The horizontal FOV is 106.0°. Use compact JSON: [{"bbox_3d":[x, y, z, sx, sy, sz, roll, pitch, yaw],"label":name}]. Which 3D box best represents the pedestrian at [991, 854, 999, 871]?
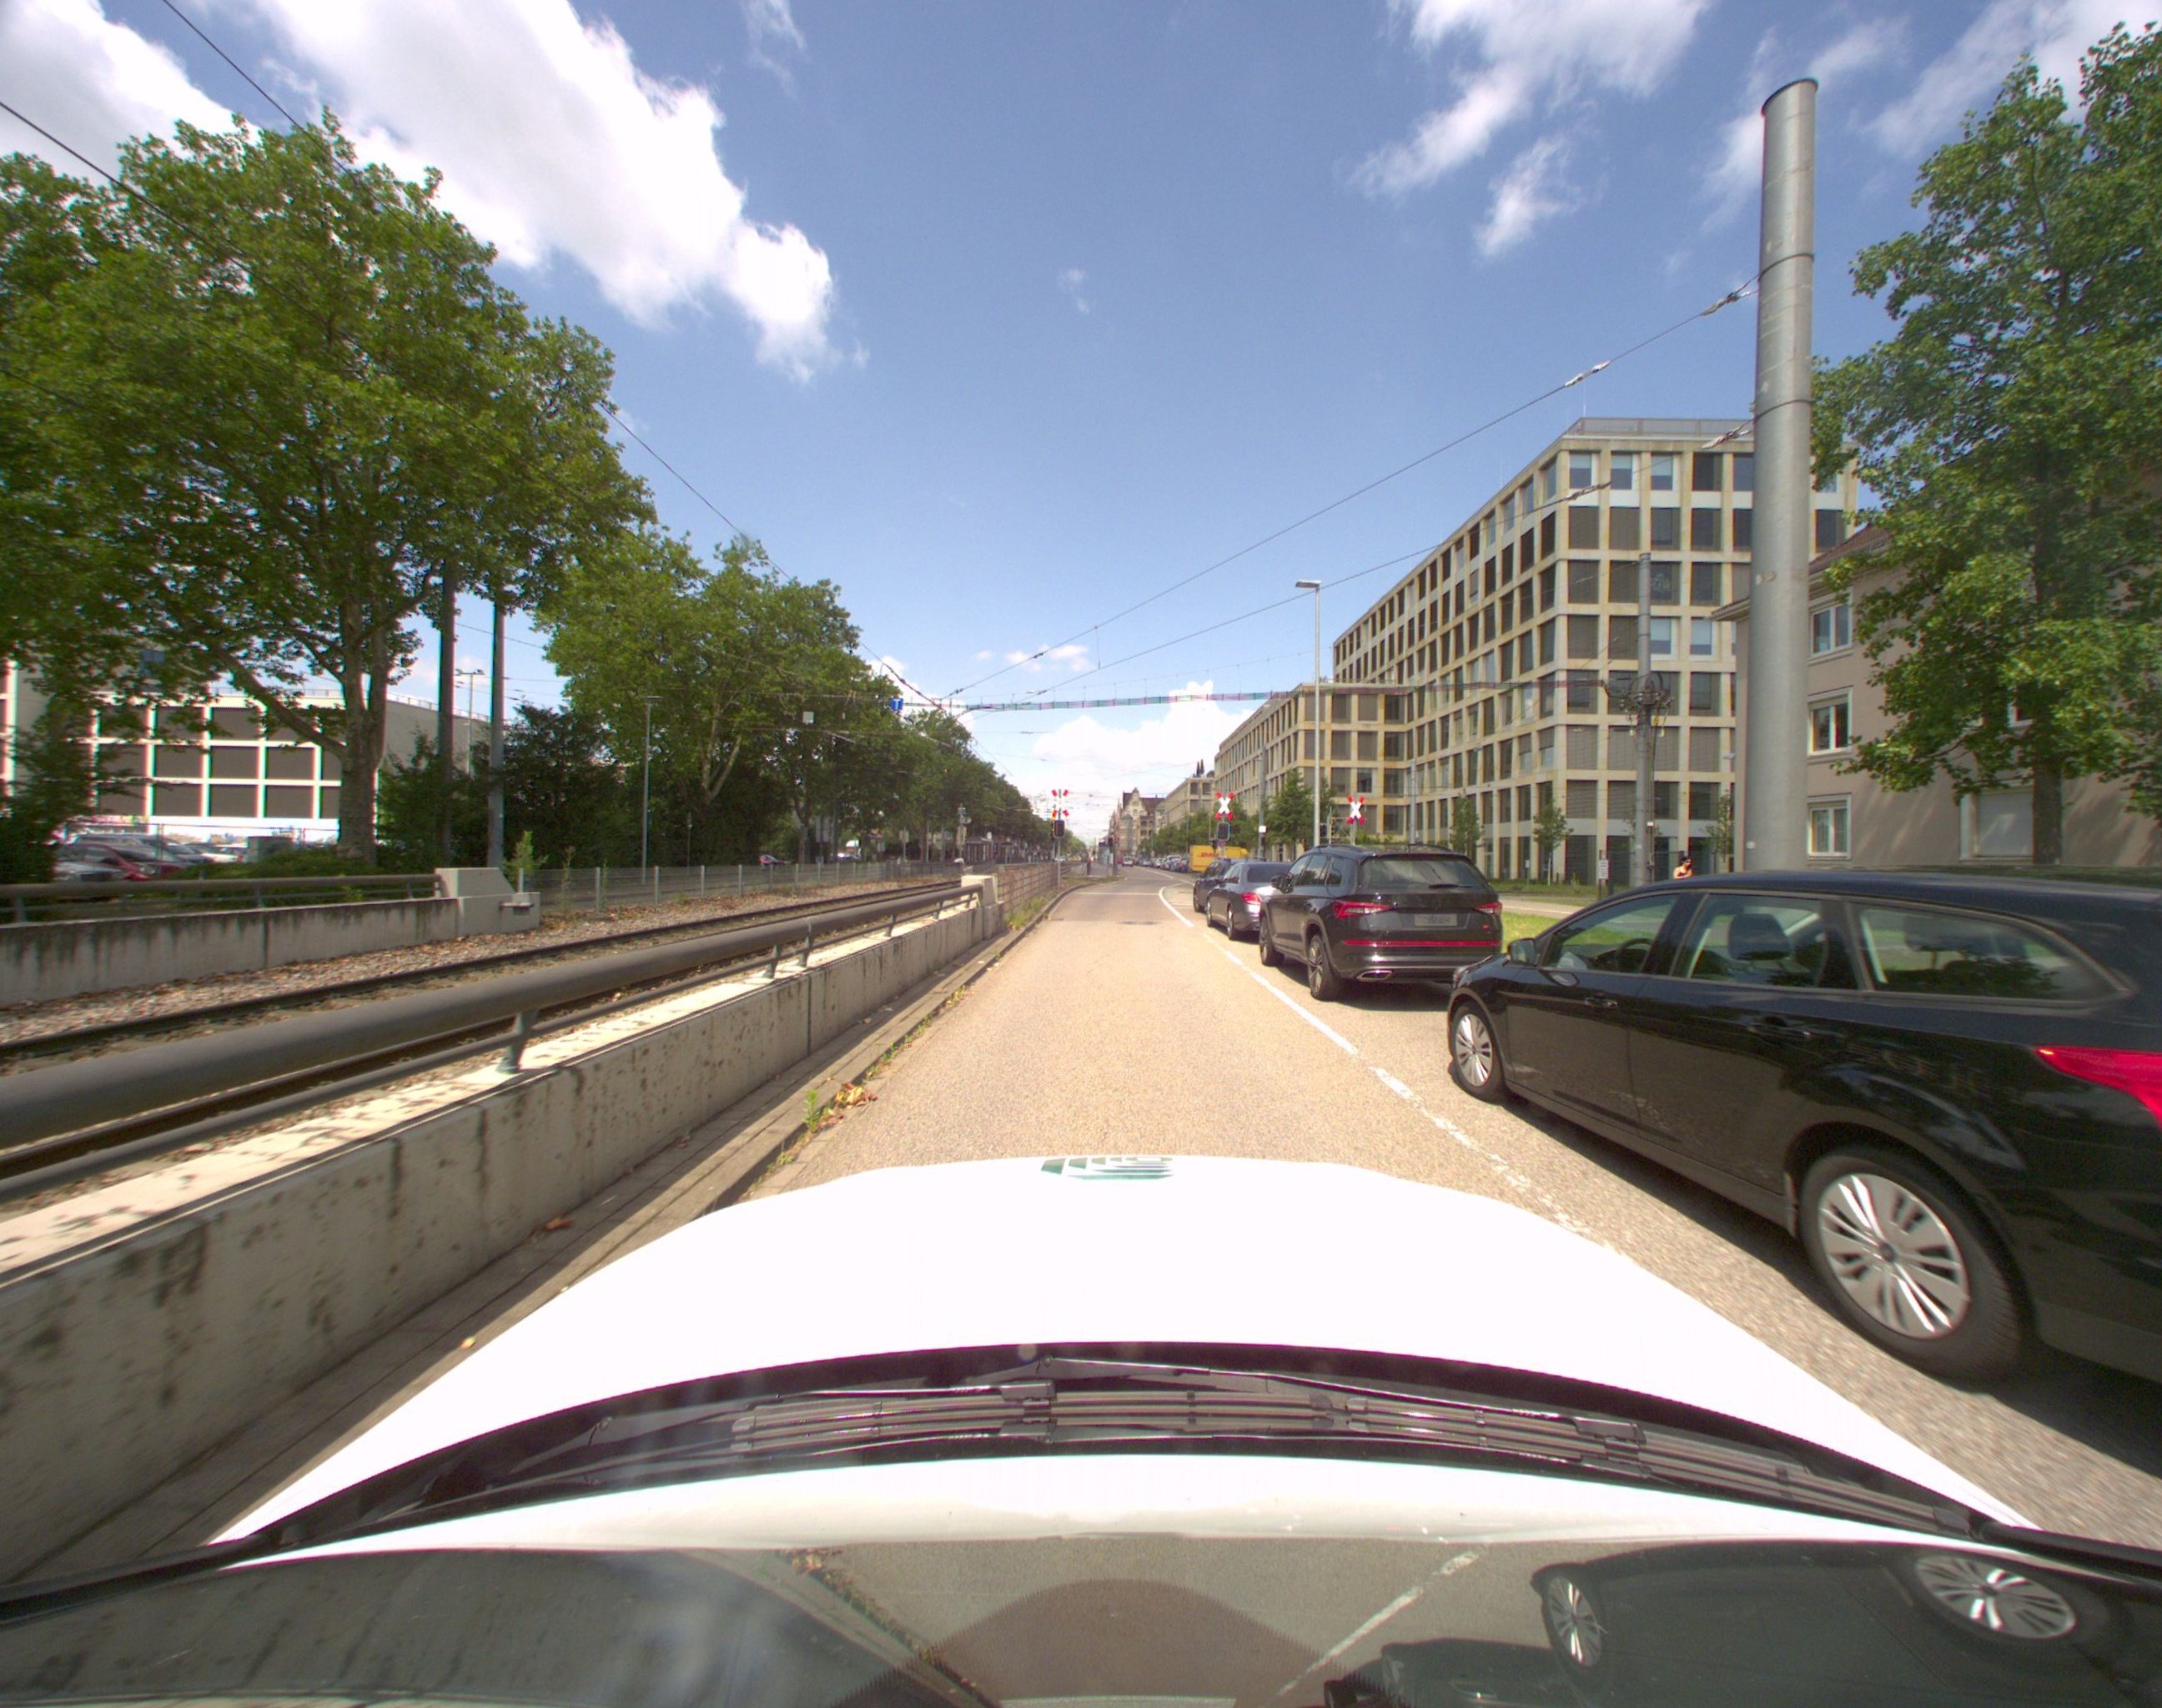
[{"bbox_3d":[-9.135,0.903,86.254,0.704,1.845,0.864,0,-1,0],"label":"pedestrian"}]

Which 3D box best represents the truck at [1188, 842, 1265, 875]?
[{"bbox_3d":[13.613,0.465,76.569,6.787,2.867,2.453,1,-1,-2],"label":"truck"}]

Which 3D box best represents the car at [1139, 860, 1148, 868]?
[{"bbox_3d":[13.249,2.086,172.712,1.586,1.434,4.105,3,-1,-1],"label":"car"}]

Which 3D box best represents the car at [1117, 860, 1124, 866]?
[{"bbox_3d":[9.284,2.096,191.808,1.439,1.470,4.090,-1,-1,-1],"label":"car"}]

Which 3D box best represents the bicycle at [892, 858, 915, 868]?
[{"bbox_3d":[-25.501,1.276,116.990,3.024,1.167,0.635,4,-1,5],"label":"bicycle"}]

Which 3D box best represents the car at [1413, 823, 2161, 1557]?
[{"bbox_3d":[3.168,0.729,3.757,1.638,1.530,4.445,0,-1,3],"label":"car"}]

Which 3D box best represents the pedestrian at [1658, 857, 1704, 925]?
[{"bbox_3d":[14.486,0.886,19.670,0.620,1.608,0.624,0,-1,-2],"label":"pedestrian"}]

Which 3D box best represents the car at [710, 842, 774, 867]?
[{"bbox_3d":[-25.354,0.035,61.054,3.977,1.750,1.802,1,-1,-2],"label":"car"}]

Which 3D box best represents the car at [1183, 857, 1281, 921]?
[{"bbox_3d":[3.940,0.865,21.917,1.774,1.540,4.419,0,-1,-1],"label":"car"}]

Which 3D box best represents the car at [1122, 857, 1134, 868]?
[{"bbox_3d":[8.212,1.487,142.147,1.862,1.746,4.000,3,-1,0],"label":"car"}]

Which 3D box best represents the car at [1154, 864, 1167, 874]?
[{"bbox_3d":[12.535,2.326,128.644,1.679,1.606,4.152,0,-1,1],"label":"car"}]

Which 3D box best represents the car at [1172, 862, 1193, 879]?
[{"bbox_3d":[11.339,1.827,91.205,1.763,1.767,4.840,1,-1,1],"label":"car"}]

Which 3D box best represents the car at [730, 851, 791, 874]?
[{"bbox_3d":[-24.827,0.657,63.172,3.977,1.750,1.802,1,-1,-2],"label":"car"}]

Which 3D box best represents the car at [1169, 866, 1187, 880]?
[{"bbox_3d":[11.448,2.207,96.297,1.715,1.620,3.860,1,-1,1],"label":"car"}]

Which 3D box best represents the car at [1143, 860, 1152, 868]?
[{"bbox_3d":[13.109,2.037,161.545,1.585,1.460,3.614,3,-1,2],"label":"car"}]

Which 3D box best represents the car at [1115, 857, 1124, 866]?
[{"bbox_3d":[8.965,1.809,191.655,1.986,2.014,4.001,0,-1,1],"label":"car"}]

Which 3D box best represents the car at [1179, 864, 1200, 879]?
[{"bbox_3d":[11.373,1.852,85.750,1.685,1.505,4.068,1,-1,1],"label":"car"}]

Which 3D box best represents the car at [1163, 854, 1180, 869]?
[{"bbox_3d":[11.977,0.960,107.900,1.875,1.939,4.843,0,-1,1],"label":"car"}]

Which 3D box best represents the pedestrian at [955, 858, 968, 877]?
[{"bbox_3d":[-8.577,0.972,58.465,0.859,1.343,0.922,0,-1,-2],"label":"pedestrian"}]

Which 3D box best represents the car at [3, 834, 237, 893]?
[{"bbox_3d":[-26.196,0.257,22.316,3.972,1.442,2.000,1,-1,1],"label":"car"}]

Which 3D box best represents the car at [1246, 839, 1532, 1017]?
[{"bbox_3d":[3.363,0.700,9.968,1.810,1.662,4.671,0,0,1],"label":"car"}]

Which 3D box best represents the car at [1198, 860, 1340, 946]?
[{"bbox_3d":[3.596,0.855,16.515,1.810,1.454,4.991,0,0,1],"label":"car"}]
